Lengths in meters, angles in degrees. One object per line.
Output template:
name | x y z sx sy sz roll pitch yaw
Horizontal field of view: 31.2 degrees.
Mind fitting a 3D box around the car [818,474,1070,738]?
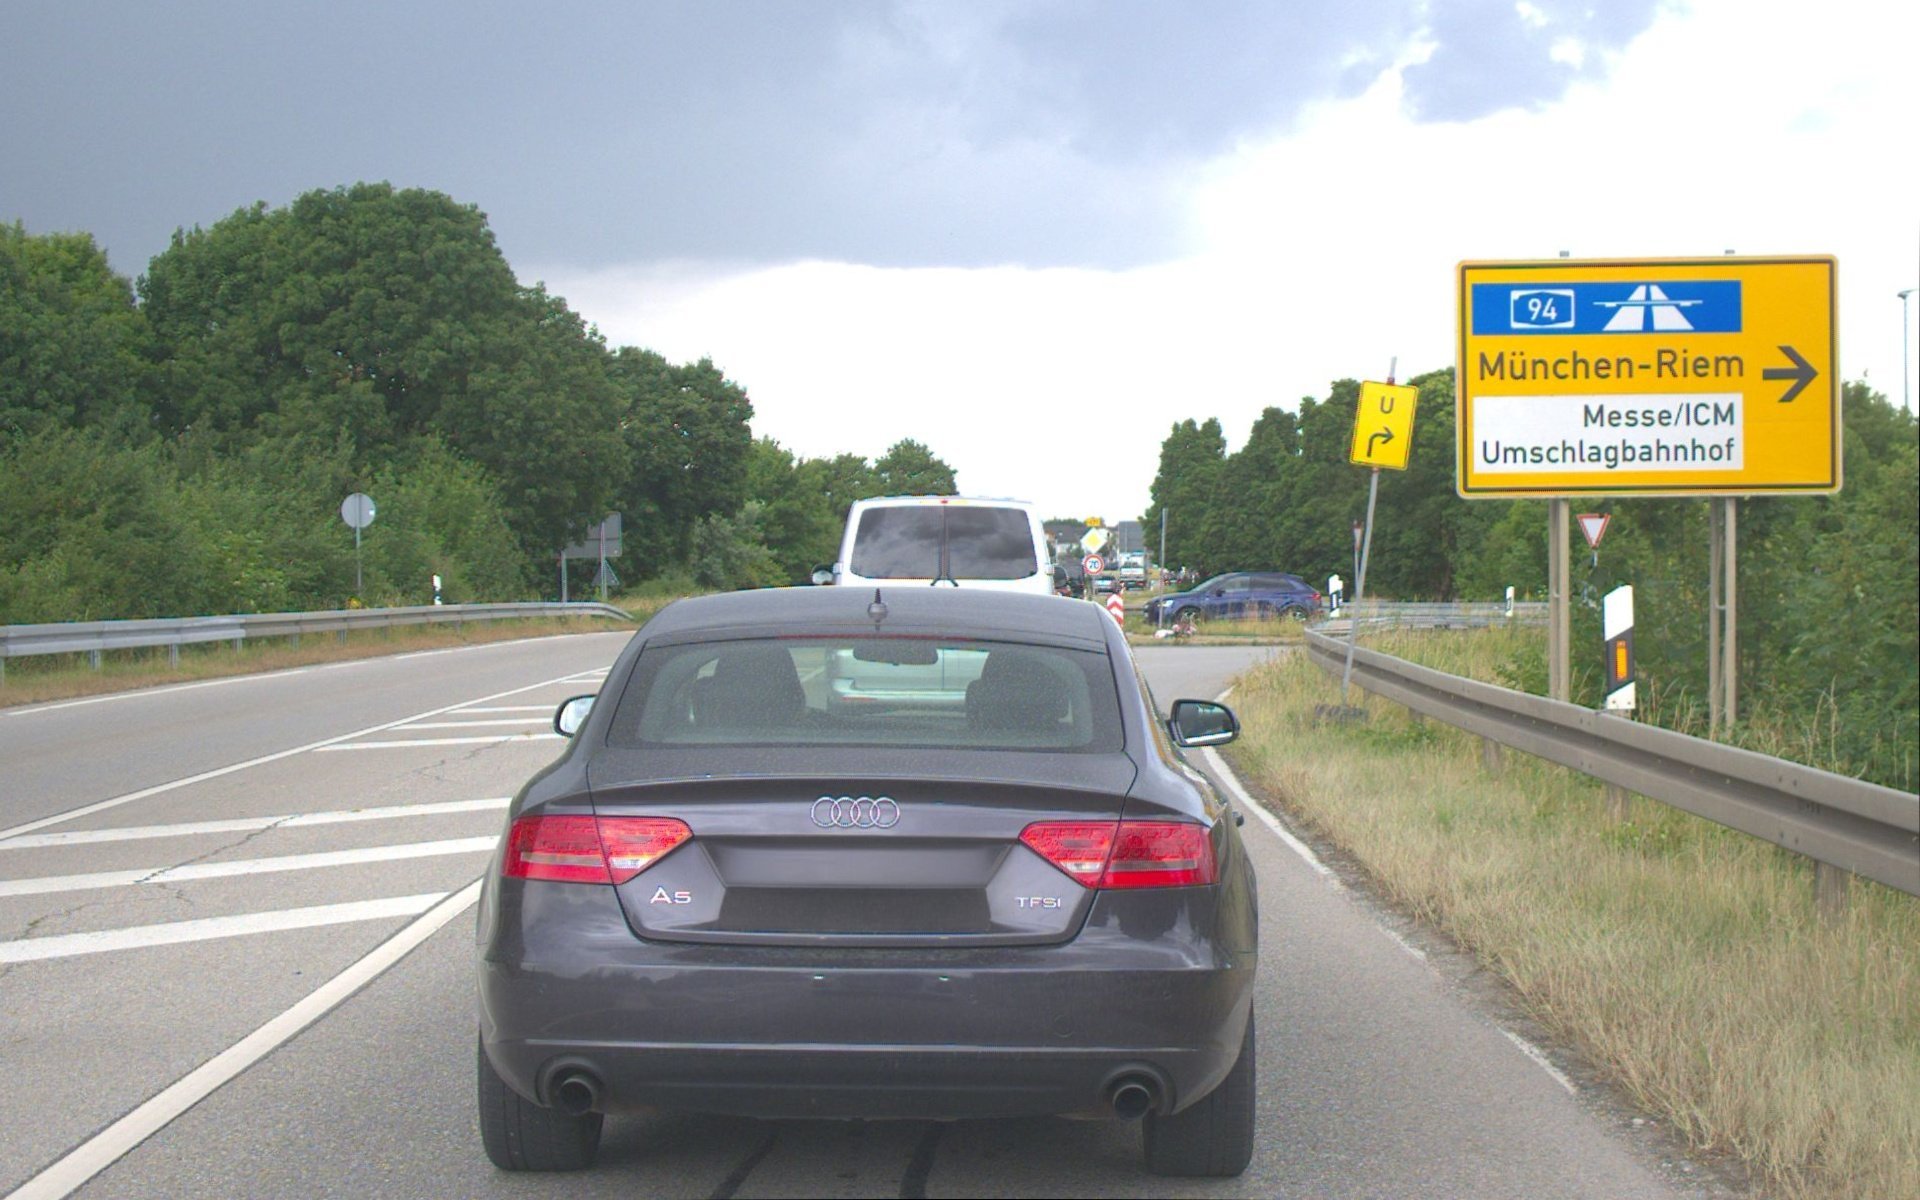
car | -0.134 0.012 28.447 1.910 2.007 4.000 1 1 0

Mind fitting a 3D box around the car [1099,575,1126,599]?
car | 11.433 -0.960 257.581 1.994 1.686 4.000 1 1 2

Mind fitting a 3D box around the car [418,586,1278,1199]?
car | -0.251 0.676 8.811 1.779 1.394 3.336 0 1 -1

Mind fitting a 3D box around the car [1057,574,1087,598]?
car | 7.105 -0.890 218.316 1.734 1.449 4.000 1 1 -1

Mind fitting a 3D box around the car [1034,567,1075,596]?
car | 5.432 -1.083 198.384 2.205 1.577 4.379 1 1 0
